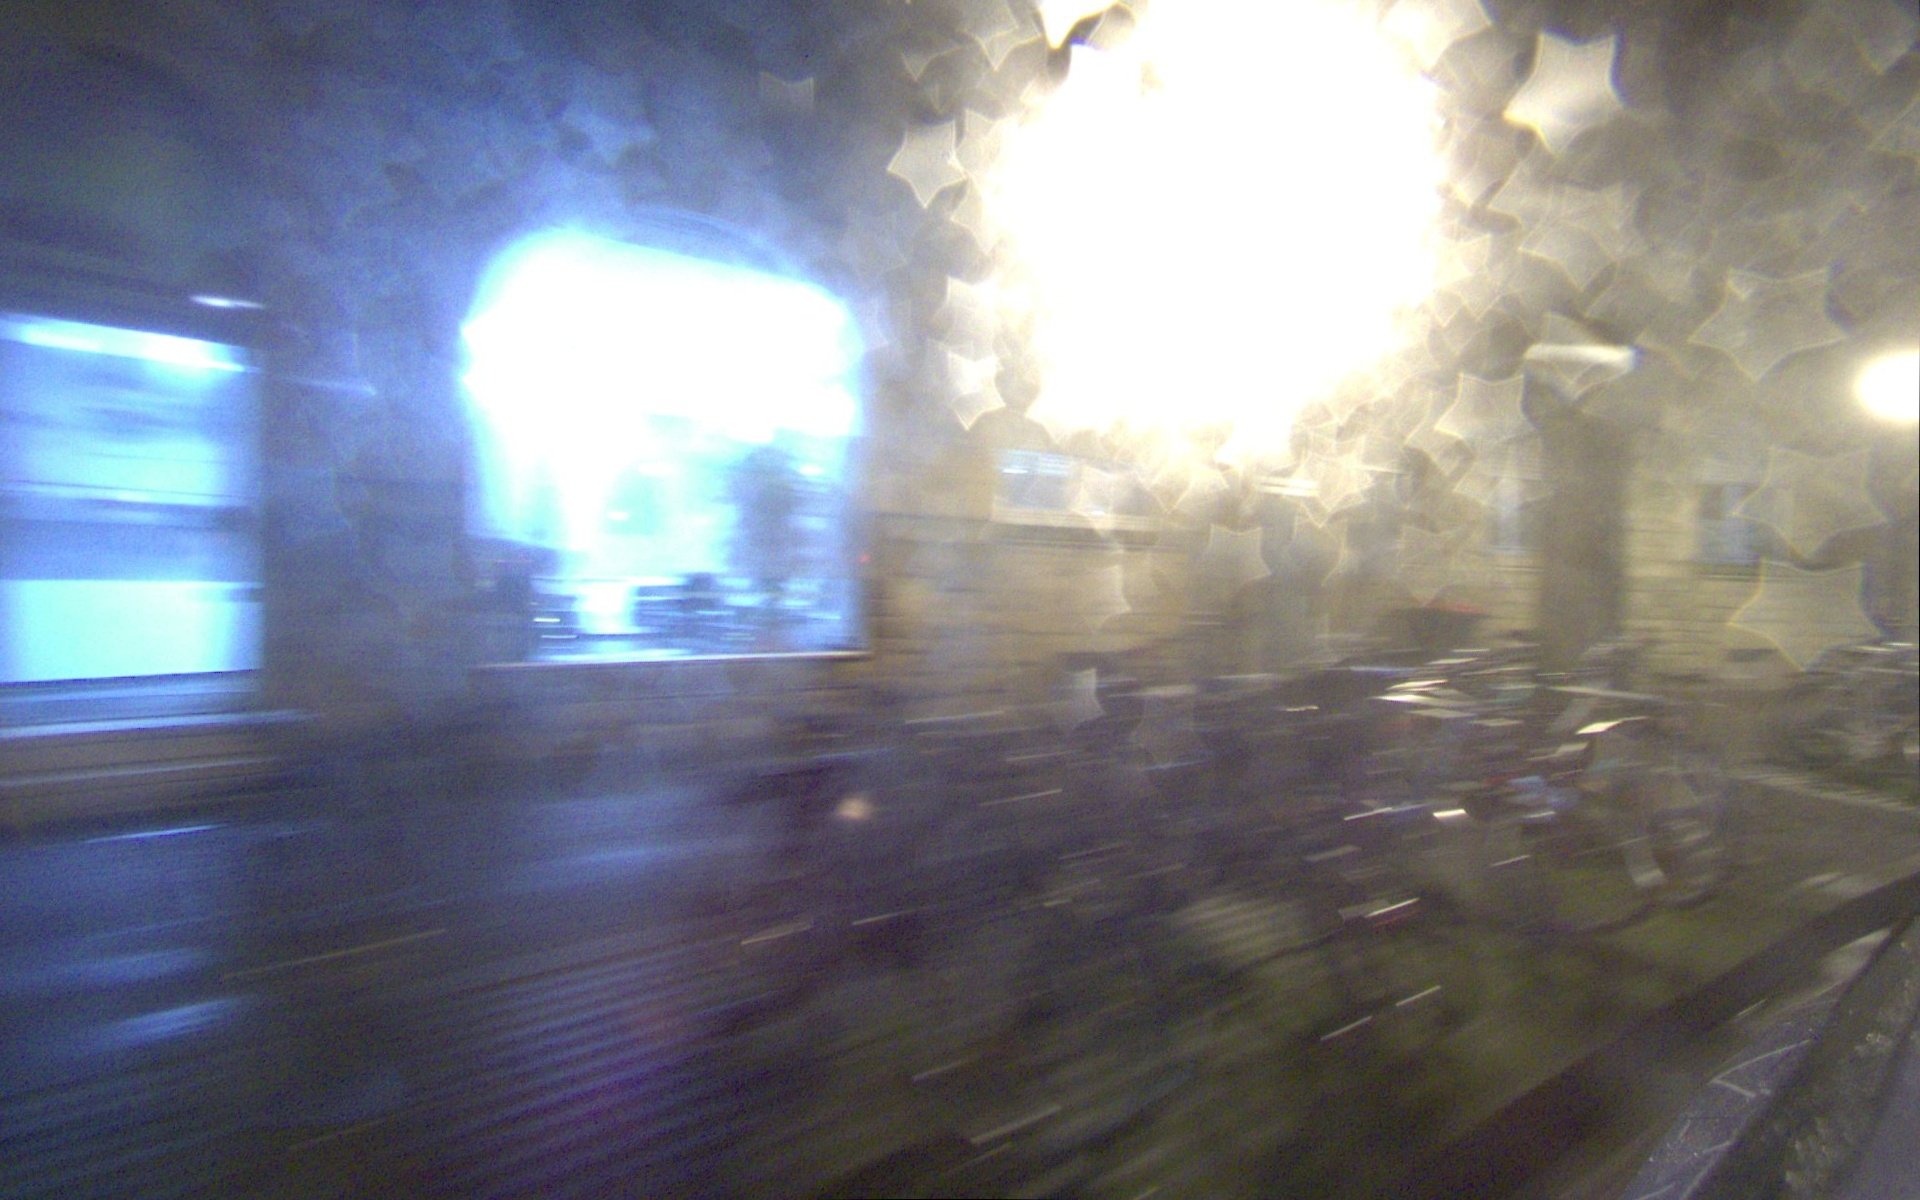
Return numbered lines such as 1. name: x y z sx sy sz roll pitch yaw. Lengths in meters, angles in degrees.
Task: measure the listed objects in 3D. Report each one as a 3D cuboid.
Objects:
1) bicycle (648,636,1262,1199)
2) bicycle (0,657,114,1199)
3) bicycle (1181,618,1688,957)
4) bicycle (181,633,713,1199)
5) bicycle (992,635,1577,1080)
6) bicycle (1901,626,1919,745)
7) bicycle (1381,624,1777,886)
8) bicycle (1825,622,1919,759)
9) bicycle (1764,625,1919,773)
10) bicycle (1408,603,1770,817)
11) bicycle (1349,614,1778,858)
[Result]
1. bicycle: -0.195 0.684 2.818 0.630 1.019 1.974 0 2 -38
2. bicycle: -1.740 0.691 1.528 0.630 1.019 1.974 0 2 -38
3. bicycle: 1.980 0.680 4.544 0.630 1.078 1.974 0 2 -38
4. bicycle: -1.227 0.667 2.112 0.630 1.047 1.974 0 2 -38
5. bicycle: 0.991 0.711 3.628 0.630 1.019 1.974 0 2 -38
6. bicycle: 8.741 0.780 7.944 0.629 1.019 1.979 1 2 -10
7. bicycle: 3.121 0.699 5.404 0.629 1.019 1.979 1 2 -10
8. bicycle: 8.011 0.758 7.874 0.629 1.046 1.979 1 2 -10
9. bicycle: 7.343 0.762 7.699 0.629 1.019 1.979 1 2 -10
10. bicycle: 3.954 0.608 6.513 0.708 1.100 1.824 0 2 -37
11. bicycle: 3.302 0.663 5.693 1.964 1.066 0.634 3 2 37
